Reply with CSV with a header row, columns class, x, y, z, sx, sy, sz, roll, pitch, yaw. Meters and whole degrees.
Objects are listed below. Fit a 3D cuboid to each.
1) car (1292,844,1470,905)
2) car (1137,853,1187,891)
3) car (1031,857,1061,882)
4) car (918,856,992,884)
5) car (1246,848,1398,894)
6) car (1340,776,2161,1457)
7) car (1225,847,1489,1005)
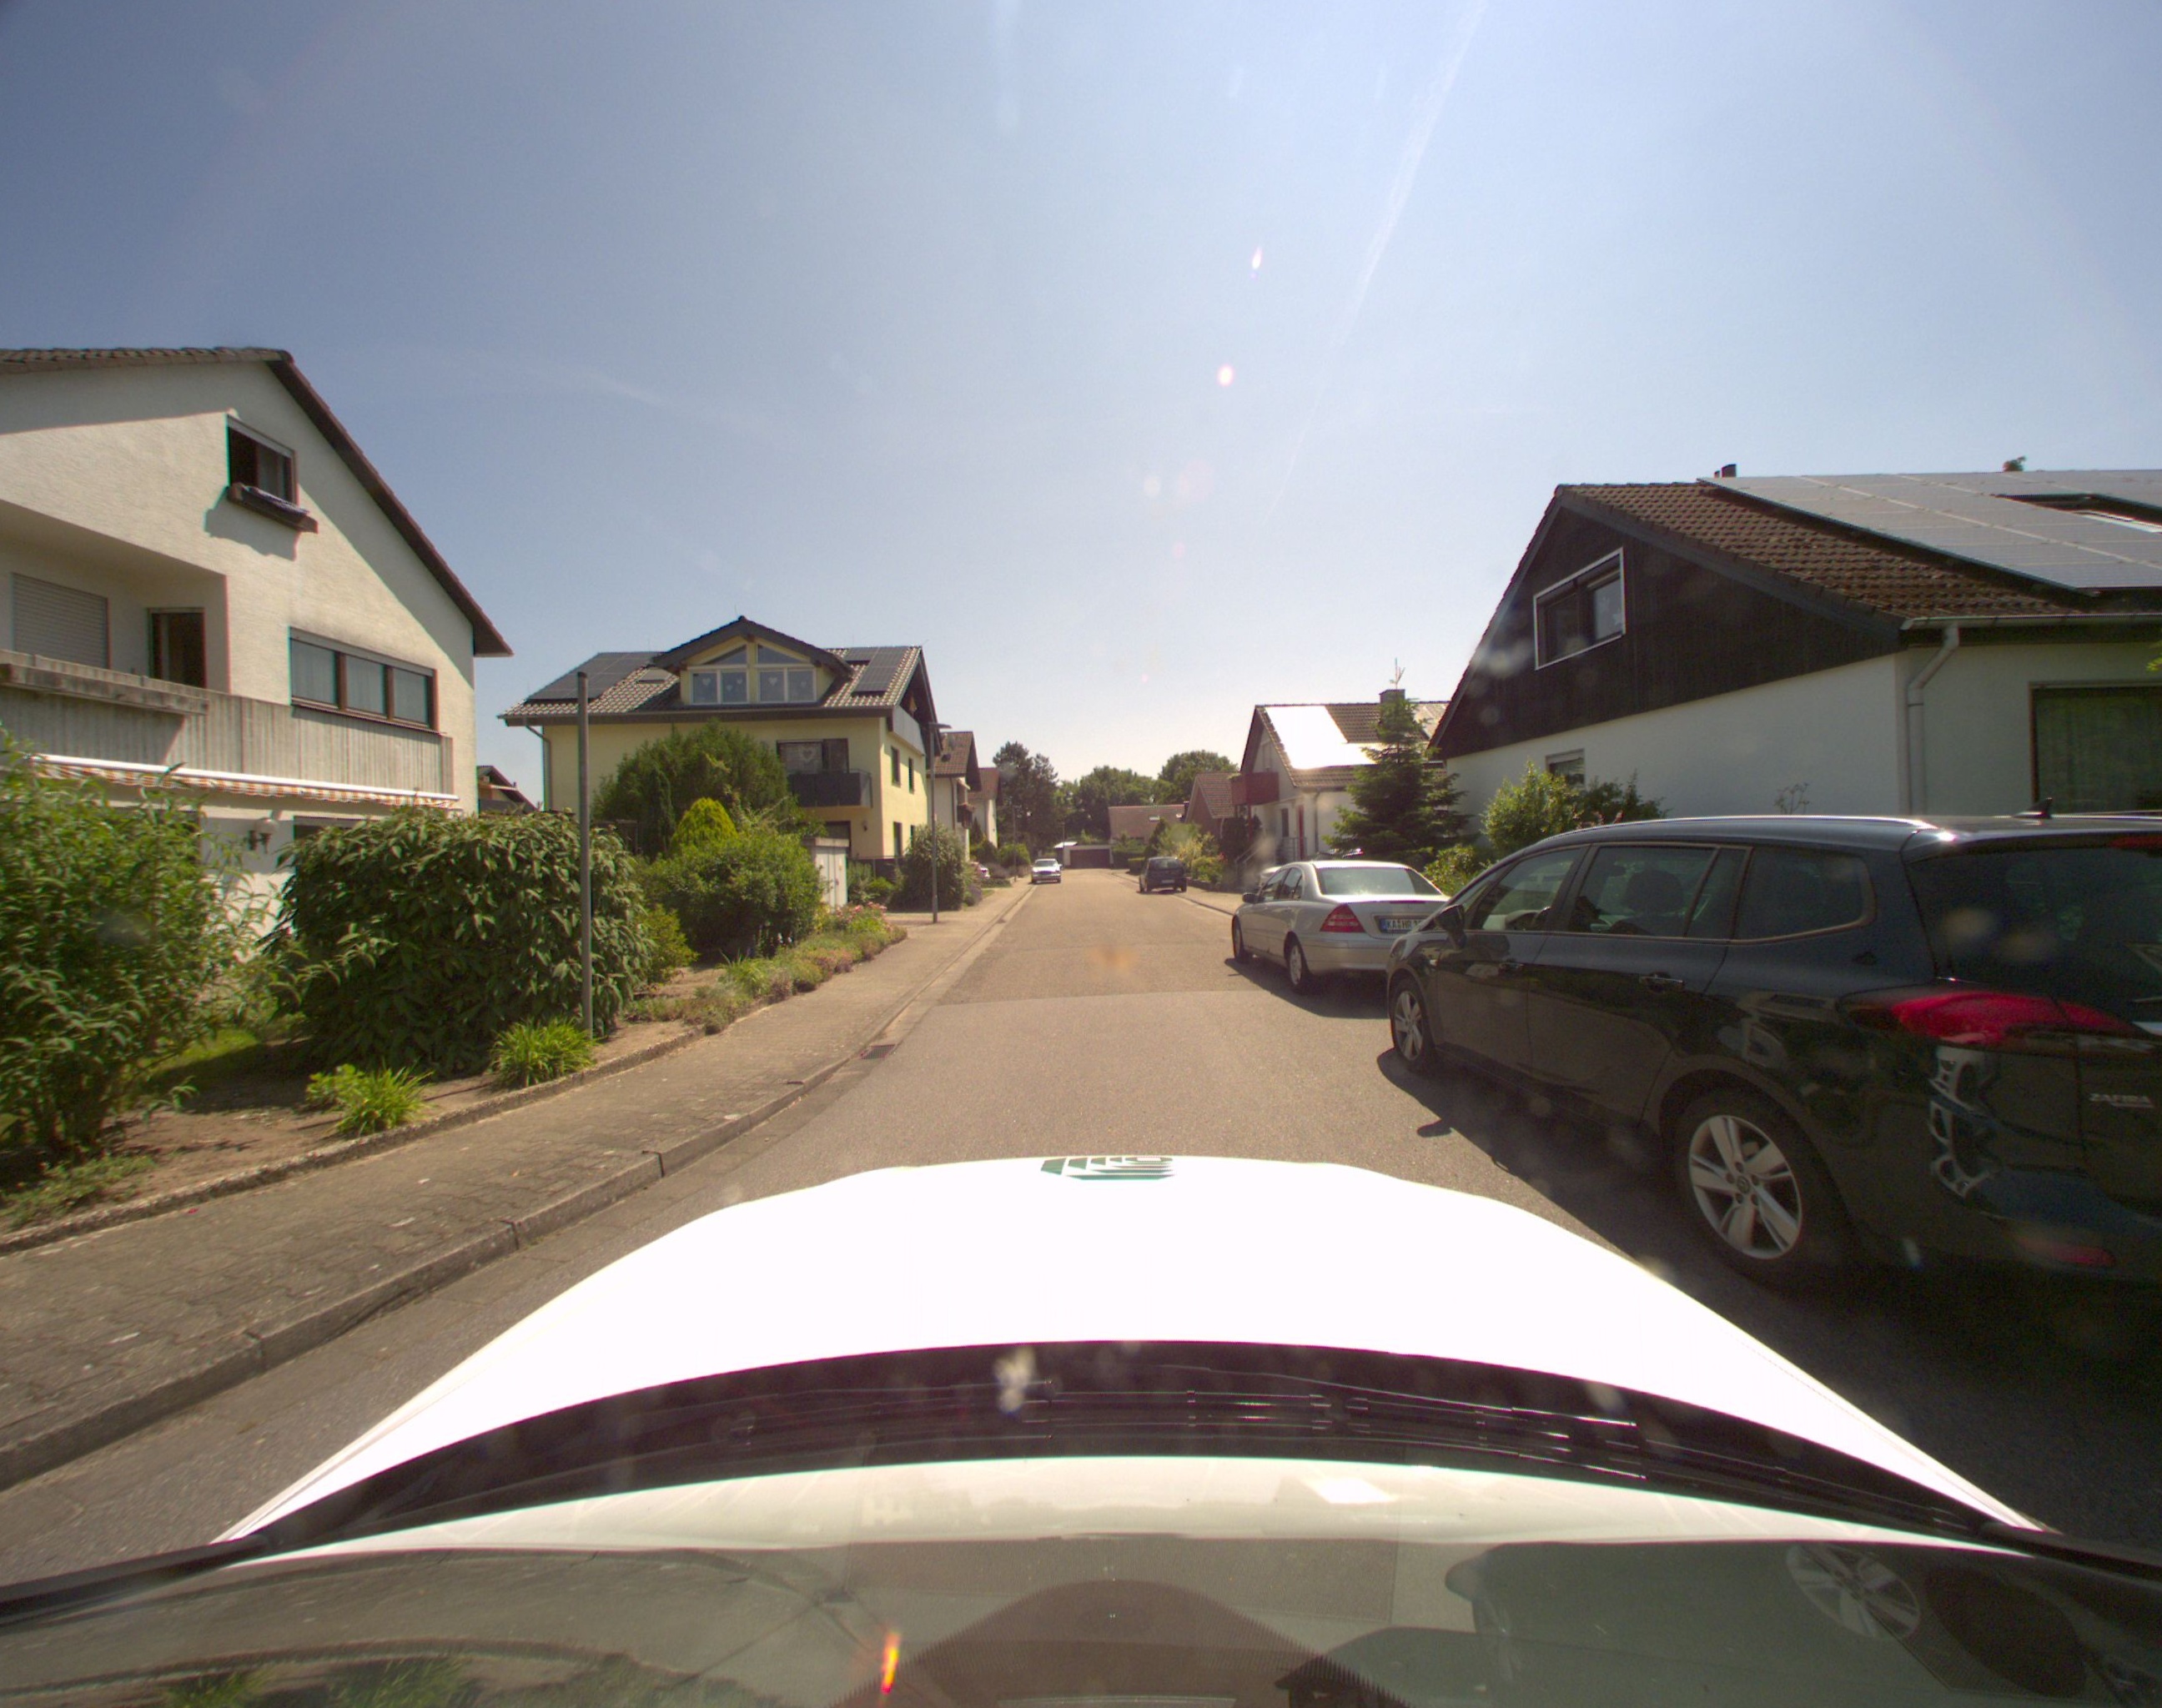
class,x,y,z,sx,sy,sz,roll,pitch,yaw
car,8.276,0.539,22.748,4.229,1.486,1.999,-2,0,-2
car,3.304,0.696,33.657,1.645,1.440,3.650,-1,0,-1
car,-2.099,0.900,49.698,1.694,1.393,4.335,-1,0,-1
car,-6.976,0.884,45.518,3.983,1.420,1.841,-1,0,-7
car,8.002,0.544,27.351,4.522,1.396,1.952,-1,0,0
car,3.147,0.609,4.370,1.957,1.662,4.681,-2,0,-1
car,3.025,0.680,9.947,1.681,1.460,4.335,-2,0,-1
